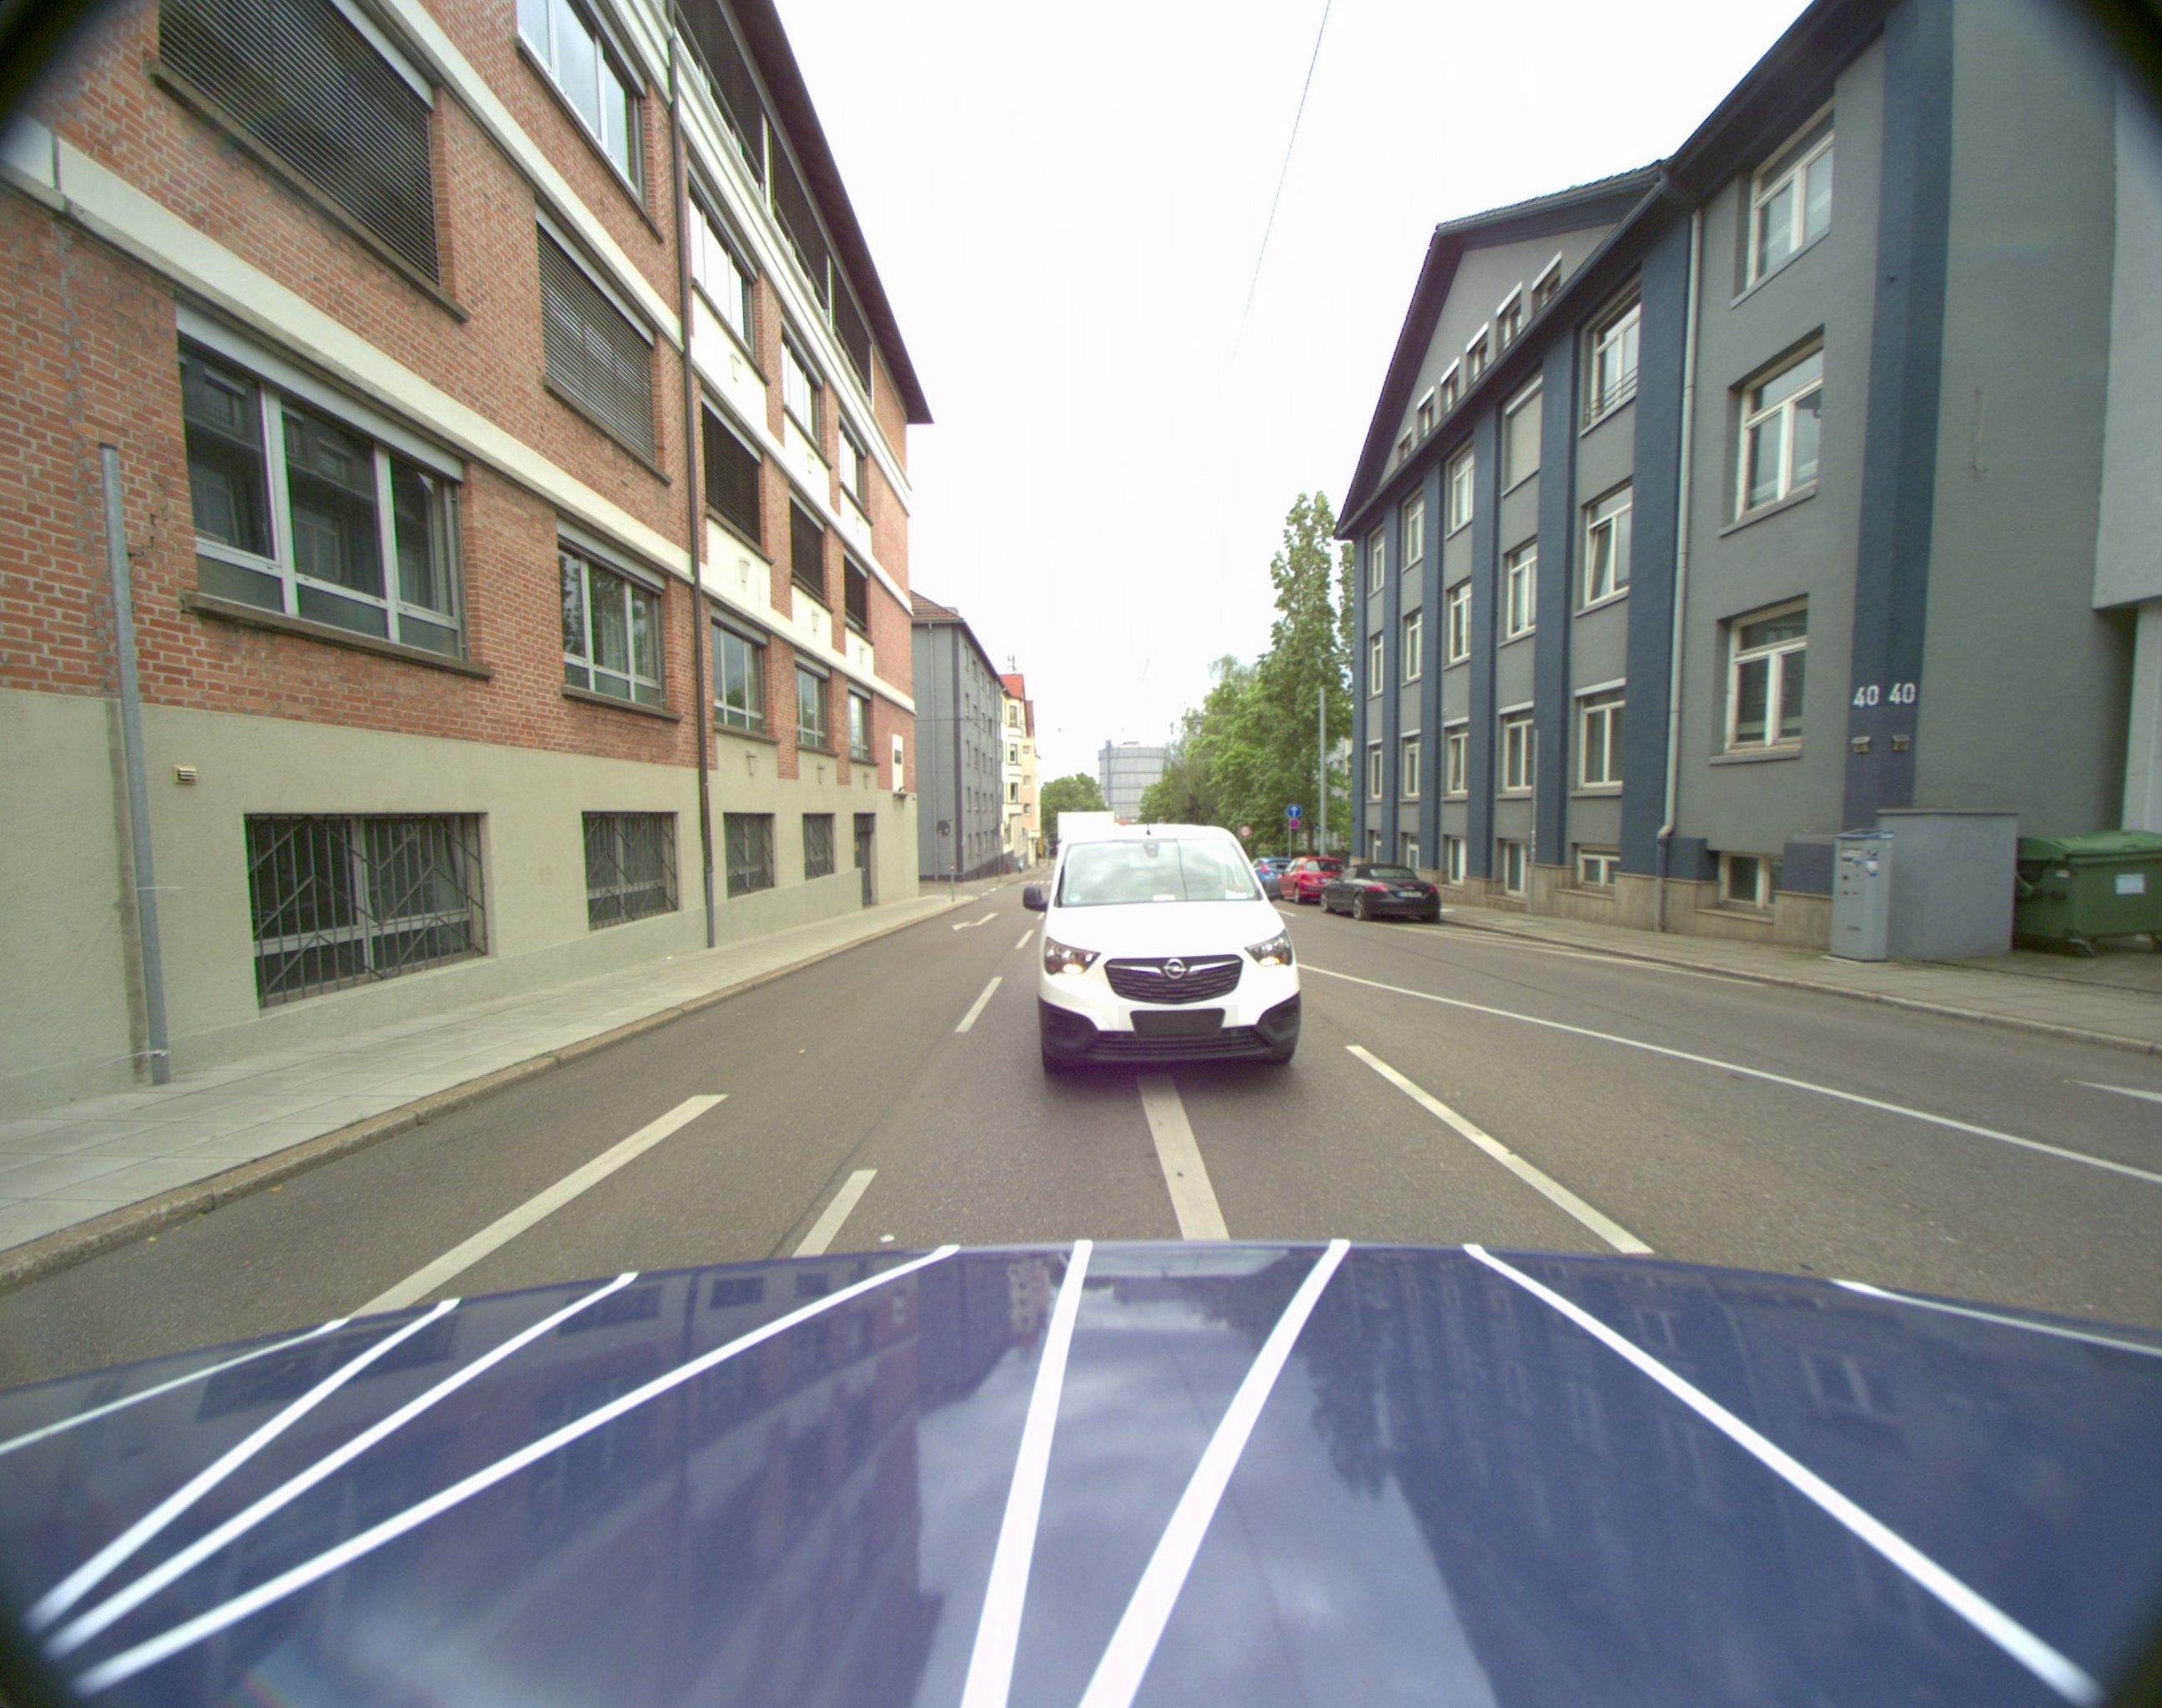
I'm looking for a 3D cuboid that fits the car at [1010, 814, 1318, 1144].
[{"bbox_3d":[0.516,0.715,6.450,1.739,1.875,3.999,-2,1,1],"label":"car"}]

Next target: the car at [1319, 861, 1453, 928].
[{"bbox_3d":[7.241,0.908,18.476,1.801,1.384,3.729,0,1,1],"label":"car"}]

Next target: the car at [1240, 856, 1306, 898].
[{"bbox_3d":[7.471,0.842,29.897,1.644,1.441,3.729,-2,1,1],"label":"car"}]

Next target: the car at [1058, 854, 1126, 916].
[{"bbox_3d":[0.310,0.822,21.901,1.739,1.519,3.999,-2,1,1],"label":"car"}]

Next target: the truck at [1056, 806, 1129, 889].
[{"bbox_3d":[0.542,-0.318,36.572,2.969,3.409,8.879,-2,1,1],"label":"truck"}]

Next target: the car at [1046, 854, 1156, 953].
[{"bbox_3d":[0.348,0.812,14.408,1.739,1.519,3.999,-2,1,1],"label":"car"}]

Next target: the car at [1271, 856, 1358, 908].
[{"bbox_3d":[7.380,0.832,24.359,1.644,1.441,3.729,-2,1,1],"label":"car"}]

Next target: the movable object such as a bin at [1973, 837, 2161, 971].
[{"bbox_3d":[12.062,0.563,9.227,1.229,1.498,1.040,-2,1,1],"label":"movable object such as a bin"}]
